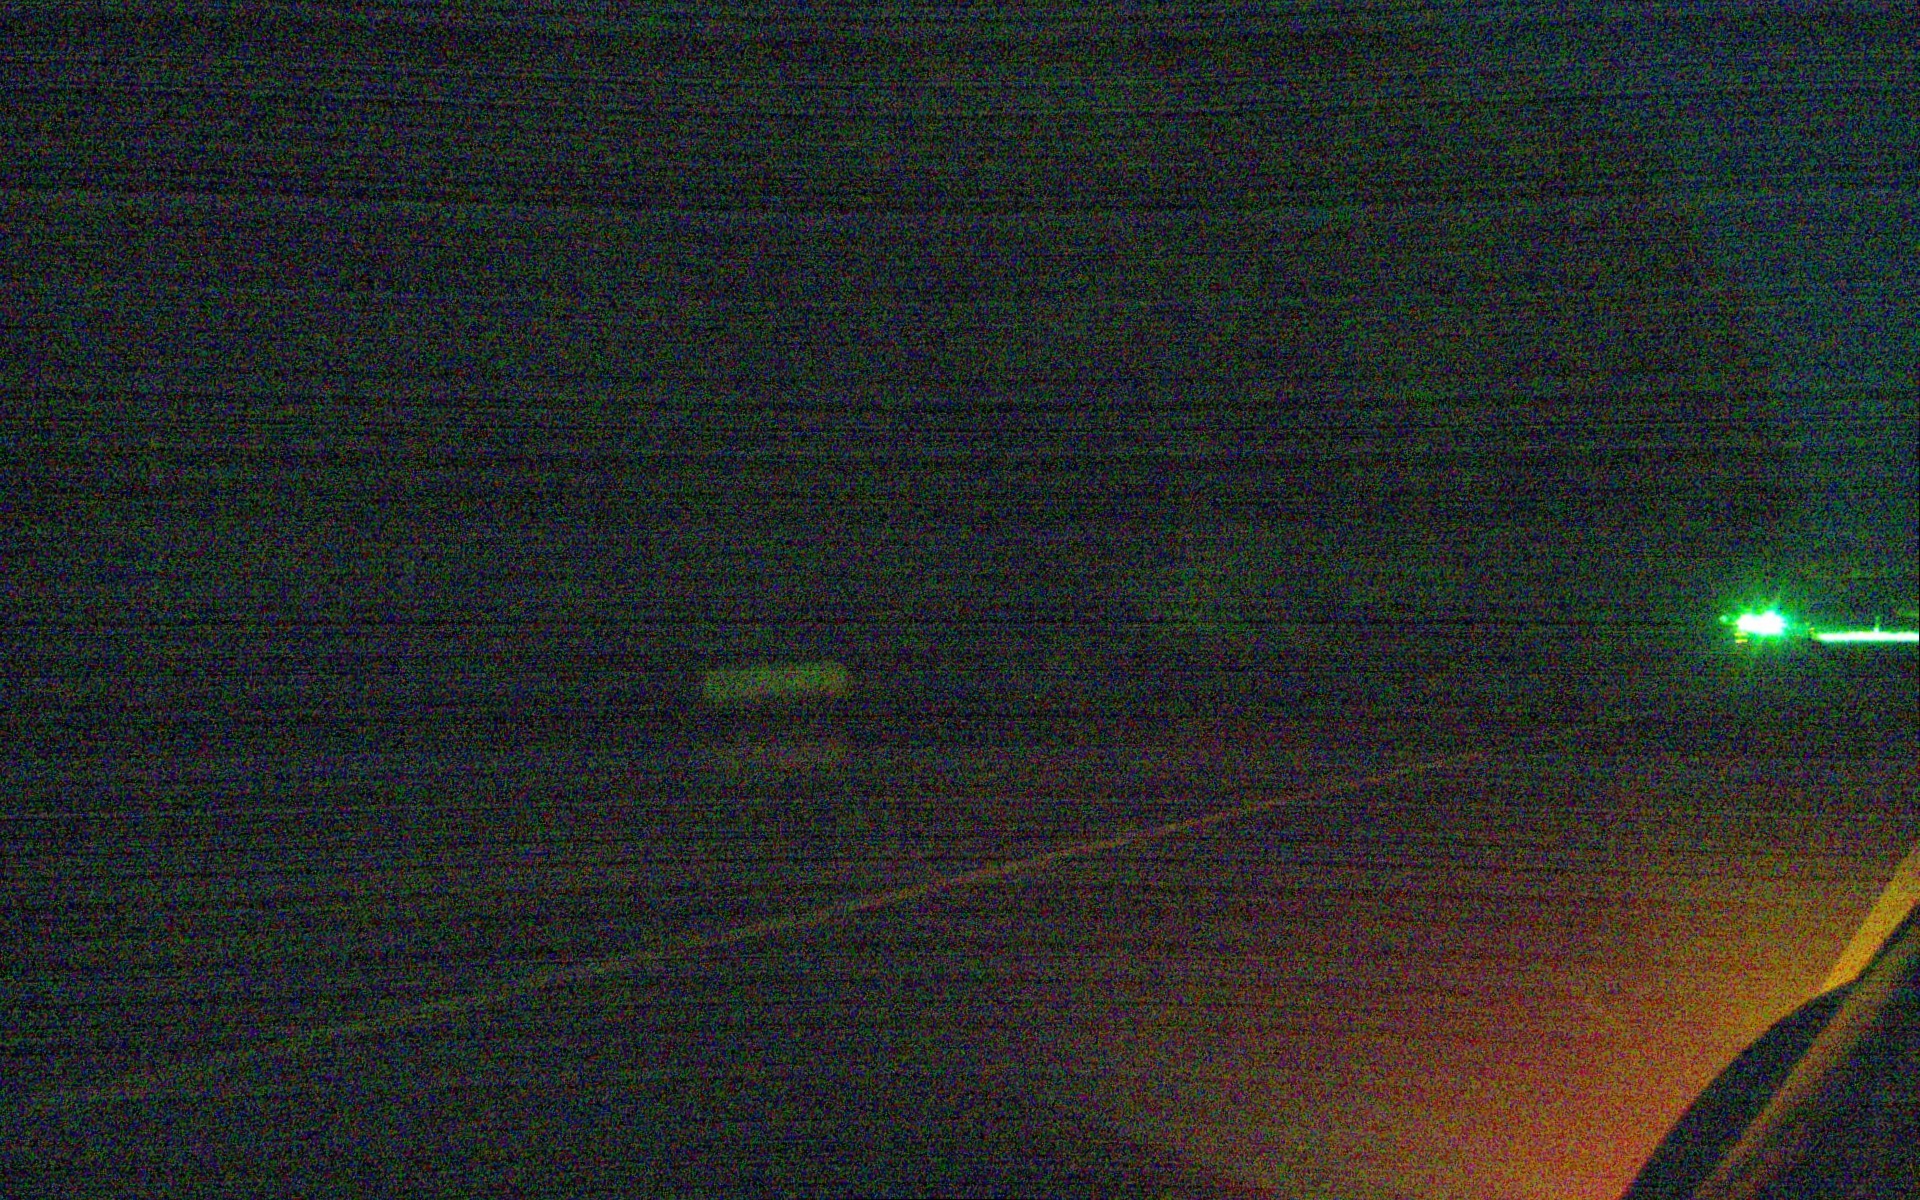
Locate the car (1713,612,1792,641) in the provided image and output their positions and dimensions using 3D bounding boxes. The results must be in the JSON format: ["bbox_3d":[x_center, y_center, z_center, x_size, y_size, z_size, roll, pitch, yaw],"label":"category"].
[{"bbox_3d":[55.144,1.862,70.524,1.960,1.878,4.002,-2,-3,-5],"label":"car"}]
